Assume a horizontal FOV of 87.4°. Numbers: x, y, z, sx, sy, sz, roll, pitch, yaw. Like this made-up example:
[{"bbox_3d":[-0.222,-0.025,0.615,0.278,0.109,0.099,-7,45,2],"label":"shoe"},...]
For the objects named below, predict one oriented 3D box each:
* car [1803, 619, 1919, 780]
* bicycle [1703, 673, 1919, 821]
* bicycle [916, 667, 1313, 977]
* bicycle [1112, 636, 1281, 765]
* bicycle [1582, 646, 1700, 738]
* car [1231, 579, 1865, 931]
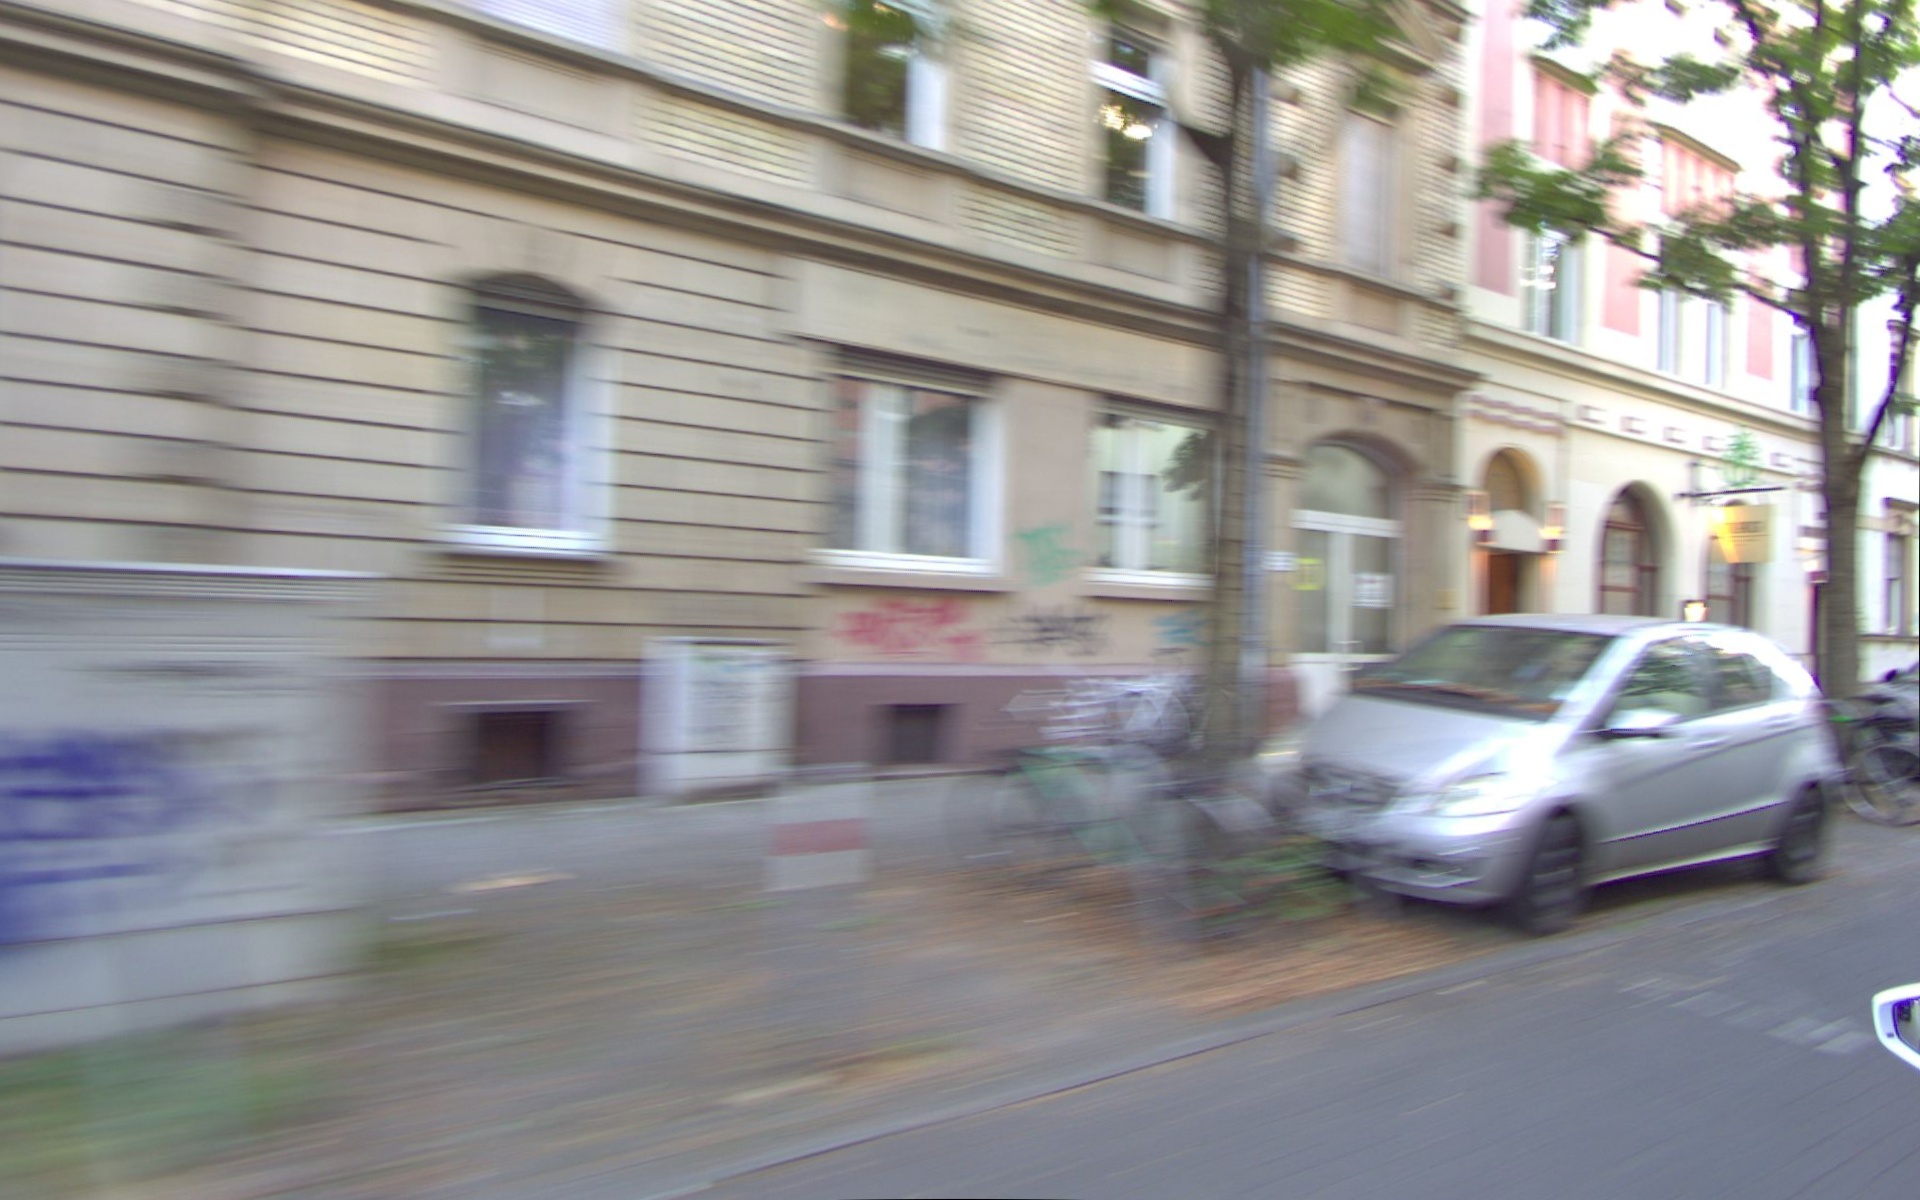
[{"bbox_3d":[11.413,1.093,11.052,4.631,1.538,1.797,3,0,-30],"label":"car"},{"bbox_3d":[7.603,1.246,8.815,0.424,1.017,1.677,2,2,-28],"label":"bicycle"},{"bbox_3d":[0.673,0.952,4.891,1.843,1.074,0.593,4,1,42],"label":"bicycle"},{"bbox_3d":[2.231,0.913,9.415,1.609,1.104,0.459,2,3,-29],"label":"bicycle"},{"bbox_3d":[8.873,1.188,13.072,1.773,1.112,0.524,3,-1,-30],"label":"bicycle"},{"bbox_3d":[3.746,0.779,6.309,3.814,1.629,1.669,3,0,-28],"label":"car"}]
